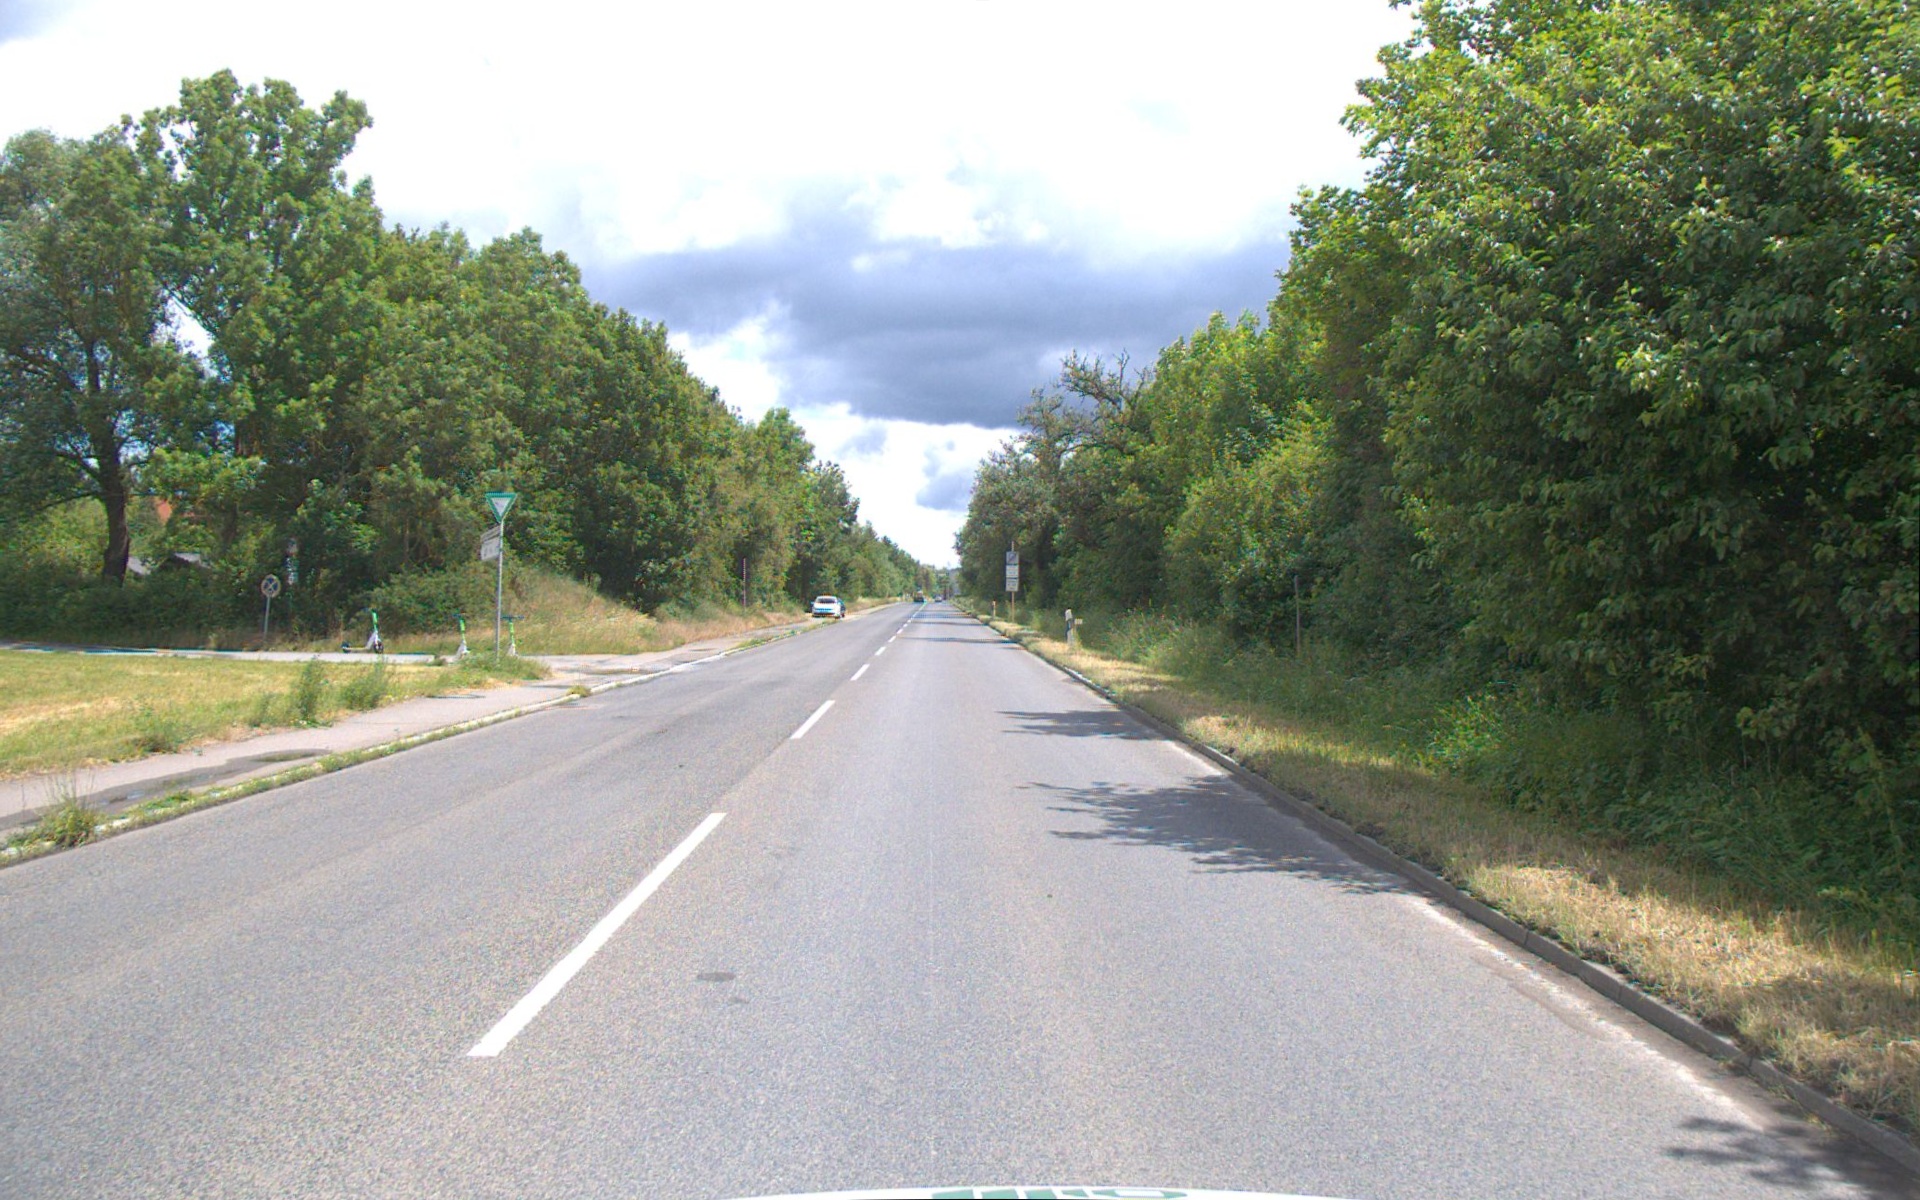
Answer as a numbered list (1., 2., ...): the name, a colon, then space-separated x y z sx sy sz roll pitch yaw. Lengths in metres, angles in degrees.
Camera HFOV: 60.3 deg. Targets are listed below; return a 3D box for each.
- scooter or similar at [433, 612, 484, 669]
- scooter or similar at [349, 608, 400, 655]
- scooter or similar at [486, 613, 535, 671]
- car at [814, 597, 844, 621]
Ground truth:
1. scooter or similar: -10.831 0.869 35.734 1.326 1.189 0.405 0 0 40
2. scooter or similar: -15.123 0.802 42.720 1.217 1.189 0.407 0 0 12
3. scooter or similar: -9.542 0.878 35.096 0.404 1.189 1.329 0 0 -44
4. car: -8.749 0.623 110.521 1.761 1.570 3.954 -1 -1 -1
